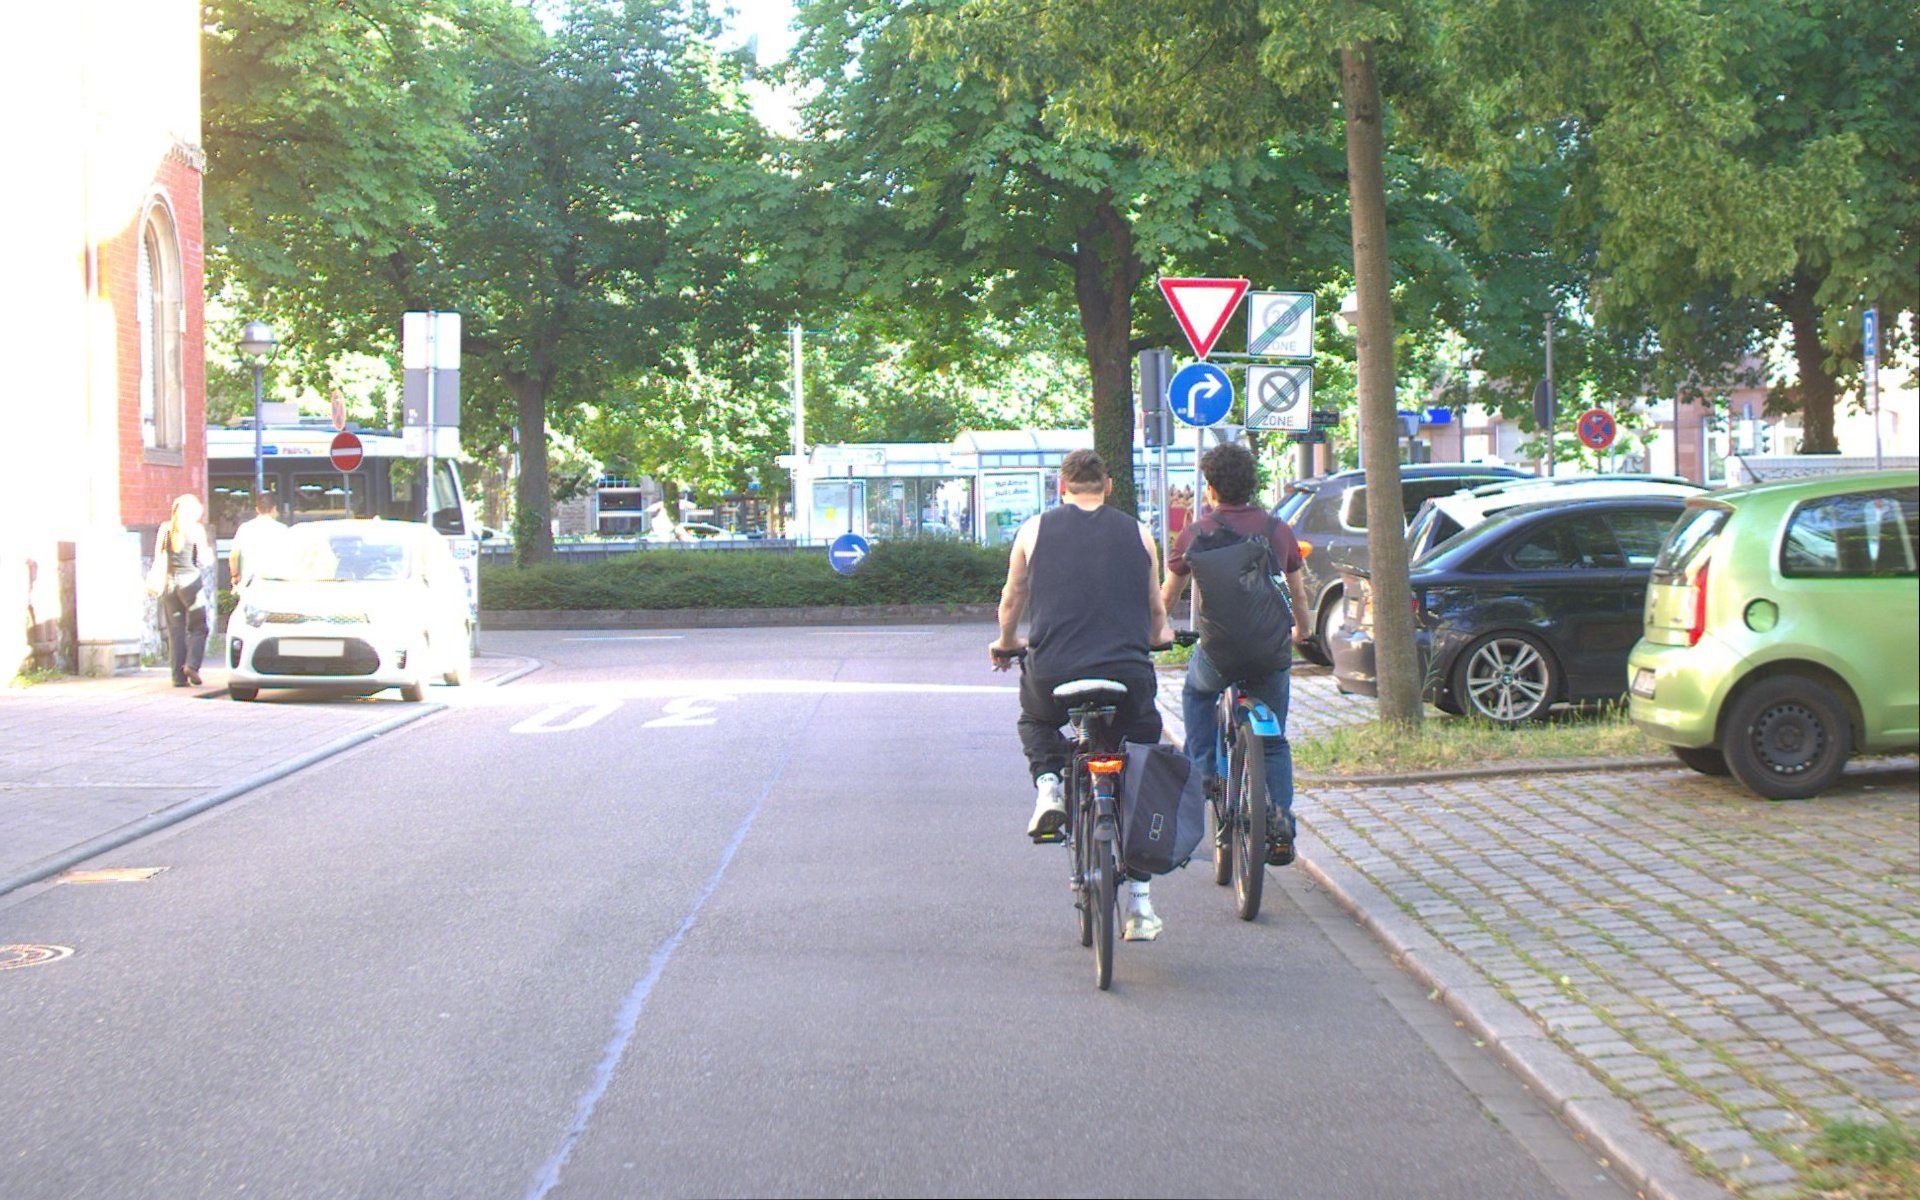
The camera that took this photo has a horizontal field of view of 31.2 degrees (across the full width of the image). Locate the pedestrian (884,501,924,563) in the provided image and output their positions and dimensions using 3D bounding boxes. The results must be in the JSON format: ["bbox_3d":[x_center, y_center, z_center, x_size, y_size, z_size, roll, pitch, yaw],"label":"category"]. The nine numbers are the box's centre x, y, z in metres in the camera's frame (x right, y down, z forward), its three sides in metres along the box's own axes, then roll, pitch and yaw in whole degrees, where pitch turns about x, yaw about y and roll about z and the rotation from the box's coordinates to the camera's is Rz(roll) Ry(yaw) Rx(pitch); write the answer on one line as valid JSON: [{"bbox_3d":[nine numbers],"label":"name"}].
[{"bbox_3d":[-1.401,-1.696,85.849,0.809,1.538,0.821,1,1,-12],"label":"pedestrian"}]

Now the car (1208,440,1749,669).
[{"bbox_3d":[4.308,-0.416,28.974,4.105,1.707,2.025,-2,2,-5],"label":"car"}]

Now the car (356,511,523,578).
[{"bbox_3d":[-13.746,-1.470,90.874,3.938,1.673,1.953,-3,2,-44],"label":"car"}]

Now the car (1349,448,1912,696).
[{"bbox_3d":[4.677,-0.211,24.372,3.693,1.645,1.704,-1,1,3],"label":"car"}]

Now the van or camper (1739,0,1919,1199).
[{"bbox_3d":[5.278,-0.346,6.310,7.075,3.067,2.465,-1,1,-3],"label":"van or camper"}]

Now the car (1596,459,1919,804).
[{"bbox_3d":[4.991,0.071,16.326,3.589,1.500,1.678,-2,2,1],"label":"car"}]

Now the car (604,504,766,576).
[{"bbox_3d":[-7.598,-1.669,95.021,3.986,1.864,2.000,-2,2,-26],"label":"car"}]

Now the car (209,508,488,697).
[{"bbox_3d":[-5.166,-0.028,29.473,1.705,1.480,3.797,1,2,0],"label":"car"}]

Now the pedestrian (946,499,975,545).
[{"bbox_3d":[0.019,-2.828,124.054,1.000,1.625,1.064,-1,1,-2],"label":"pedestrian"}]

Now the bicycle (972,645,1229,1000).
[{"bbox_3d":[0.431,0.692,11.507,0.737,1.008,2.061,1,1,-1],"label":"bicycle"}]

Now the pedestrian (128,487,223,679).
[{"bbox_3d":[-6.676,-0.156,29.270,0.600,1.599,0.855,-1,1,-2],"label":"pedestrian"}]

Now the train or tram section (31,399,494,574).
[{"bbox_3d":[-13.603,-2.178,67.132,8.415,3.166,2.862,1,2,-23],"label":"train or tram section"}]

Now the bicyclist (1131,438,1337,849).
[{"bbox_3d":[1.042,0.157,13.275,0.671,1.509,1.069,-1,0,-1],"label":"bicyclist"}]

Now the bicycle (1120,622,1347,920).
[{"bbox_3d":[1.039,0.624,13.484,0.674,1.050,2.061,-1,0,-1],"label":"bicycle"}]

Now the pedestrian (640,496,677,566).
[{"bbox_3d":[-7.301,-1.670,83.290,0.701,1.689,0.671,1,1,-22],"label":"pedestrian"}]

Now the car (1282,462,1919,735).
[{"bbox_3d":[4.201,-0.042,21.598,4.104,1.407,1.792,-4,1,0],"label":"car"}]

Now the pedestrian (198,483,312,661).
[{"bbox_3d":[-6.611,-0.271,32.284,0.867,1.637,0.860,-1,1,0],"label":"pedestrian"}]

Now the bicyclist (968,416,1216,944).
[{"bbox_3d":[0.424,0.246,11.462,0.752,1.676,0.913,-1,1,0],"label":"bicyclist"}]
